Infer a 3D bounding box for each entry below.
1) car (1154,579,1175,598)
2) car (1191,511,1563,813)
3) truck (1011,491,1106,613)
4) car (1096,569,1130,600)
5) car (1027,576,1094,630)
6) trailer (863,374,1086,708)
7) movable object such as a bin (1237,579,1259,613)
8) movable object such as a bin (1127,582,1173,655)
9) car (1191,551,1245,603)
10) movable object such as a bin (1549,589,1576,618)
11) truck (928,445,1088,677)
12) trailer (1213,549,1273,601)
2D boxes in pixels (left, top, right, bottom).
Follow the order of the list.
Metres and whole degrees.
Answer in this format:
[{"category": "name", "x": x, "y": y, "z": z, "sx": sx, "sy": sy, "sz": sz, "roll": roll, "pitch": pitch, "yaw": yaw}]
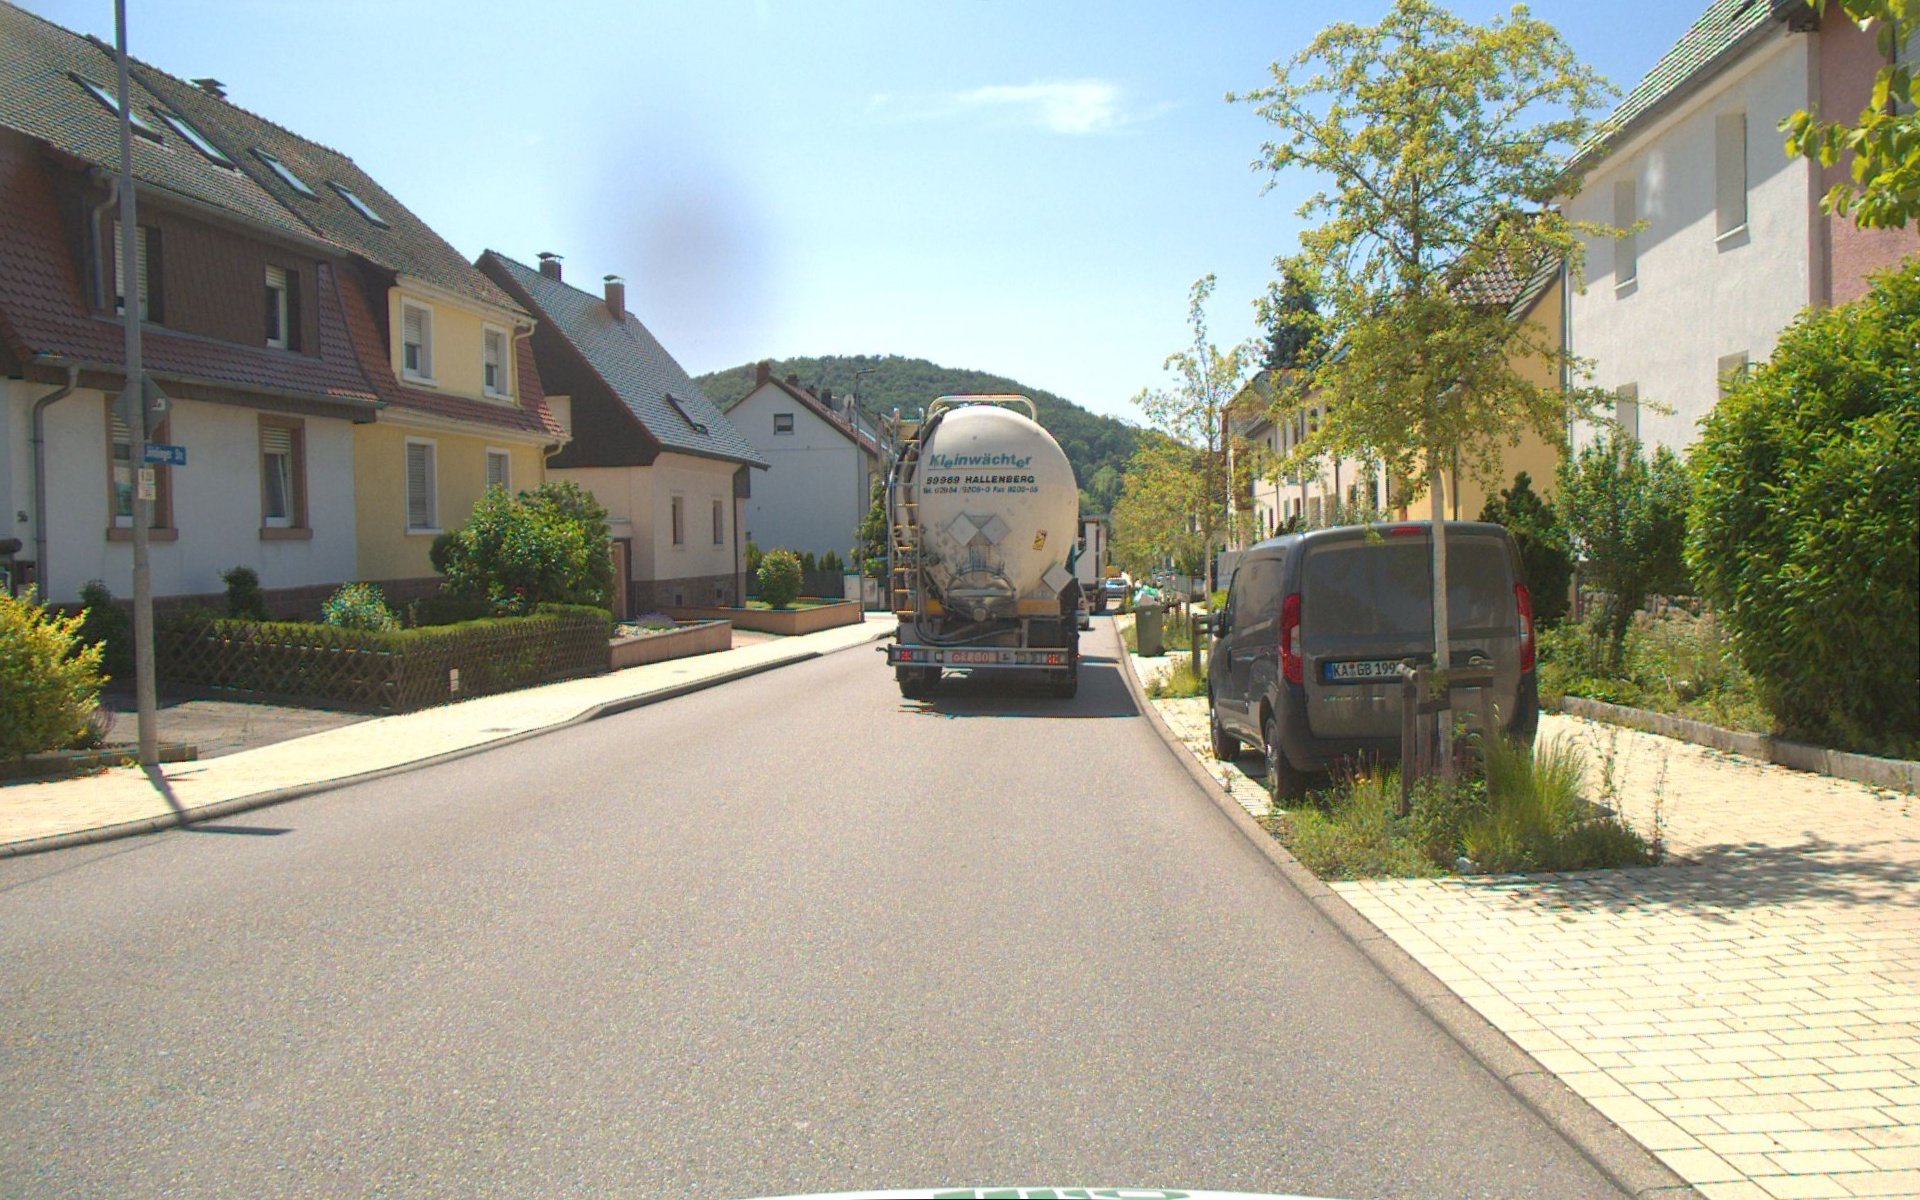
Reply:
[{"category": "car", "x": 17.306, "y": -1.005, "z": 140.191, "sx": 1.753, "sy": 1.568, "sz": 4.523, "roll": -1, "pitch": 0, "yaw": 7}, {"category": "car", "x": 2.996, "y": 0.362, "z": 12.934, "sx": 1.816, "sy": 1.874, "sz": 4.672, "roll": -2, "pitch": 1, "yaw": 2}, {"category": "truck", "x": 4.379, "y": -2.086, "z": 74.464, "sx": 3.828, "sy": 4.981, "sz": 9.800, "roll": -2, "pitch": 1, "yaw": 3}, {"category": "car", "x": 9.727, "y": -0.980, "z": 105.232, "sx": 1.952, "sy": 1.853, "sz": 4.002, "roll": -2, "pitch": 1, "yaw": 3}, {"category": "car", "x": 3.245, "y": 0.062, "z": 52.837, "sx": 1.868, "sy": 1.581, "sz": 4.003, "roll": -2, "pitch": 1, "yaw": 7}, {"category": "trailer", "x": 0.557, "y": -0.764, "z": 25.416, "sx": 2.737, "sy": 4.071, "sz": 10.329, "roll": 0, "pitch": 0, "yaw": 4}, {"category": "movable object such as a bin", "x": 10.035, "y": -0.139, "z": 57.649, "sx": 0.669, "sy": 1.134, "sz": 0.813, "roll": -4, "pitch": 0, "yaw": 11}, {"category": "movable object such as a bin", "x": 3.905, "y": 0.374, "z": 34.005, "sx": 0.775, "sy": 1.419, "sz": 0.925, "roll": -5, "pitch": 0, "yaw": 2}, {"category": "car", "x": 11.180, "y": -0.995, "z": 71.950, "sx": 1.814, "sy": 2.004, "sz": 4.776, "roll": -6, "pitch": 0, "yaw": 5}, {"category": "movable object such as a bin", "x": 12.077, "y": 0.075, "z": 33.160, "sx": 0.444, "sy": 0.581, "sz": 0.375, "roll": 0, "pitch": 1, "yaw": 5}, {"category": "truck", "x": 1.035, "y": -0.745, "z": 31.804, "sx": 2.749, "sy": 4.005, "sz": 6.102, "roll": 1, "pitch": 1, "yaw": 4}, {"category": "trailer", "x": 11.431, "y": -1.001, "z": 66.859, "sx": 2.255, "sy": 2.049, "sz": 1.304, "roll": -1, "pitch": 1, "yaw": -43}]
